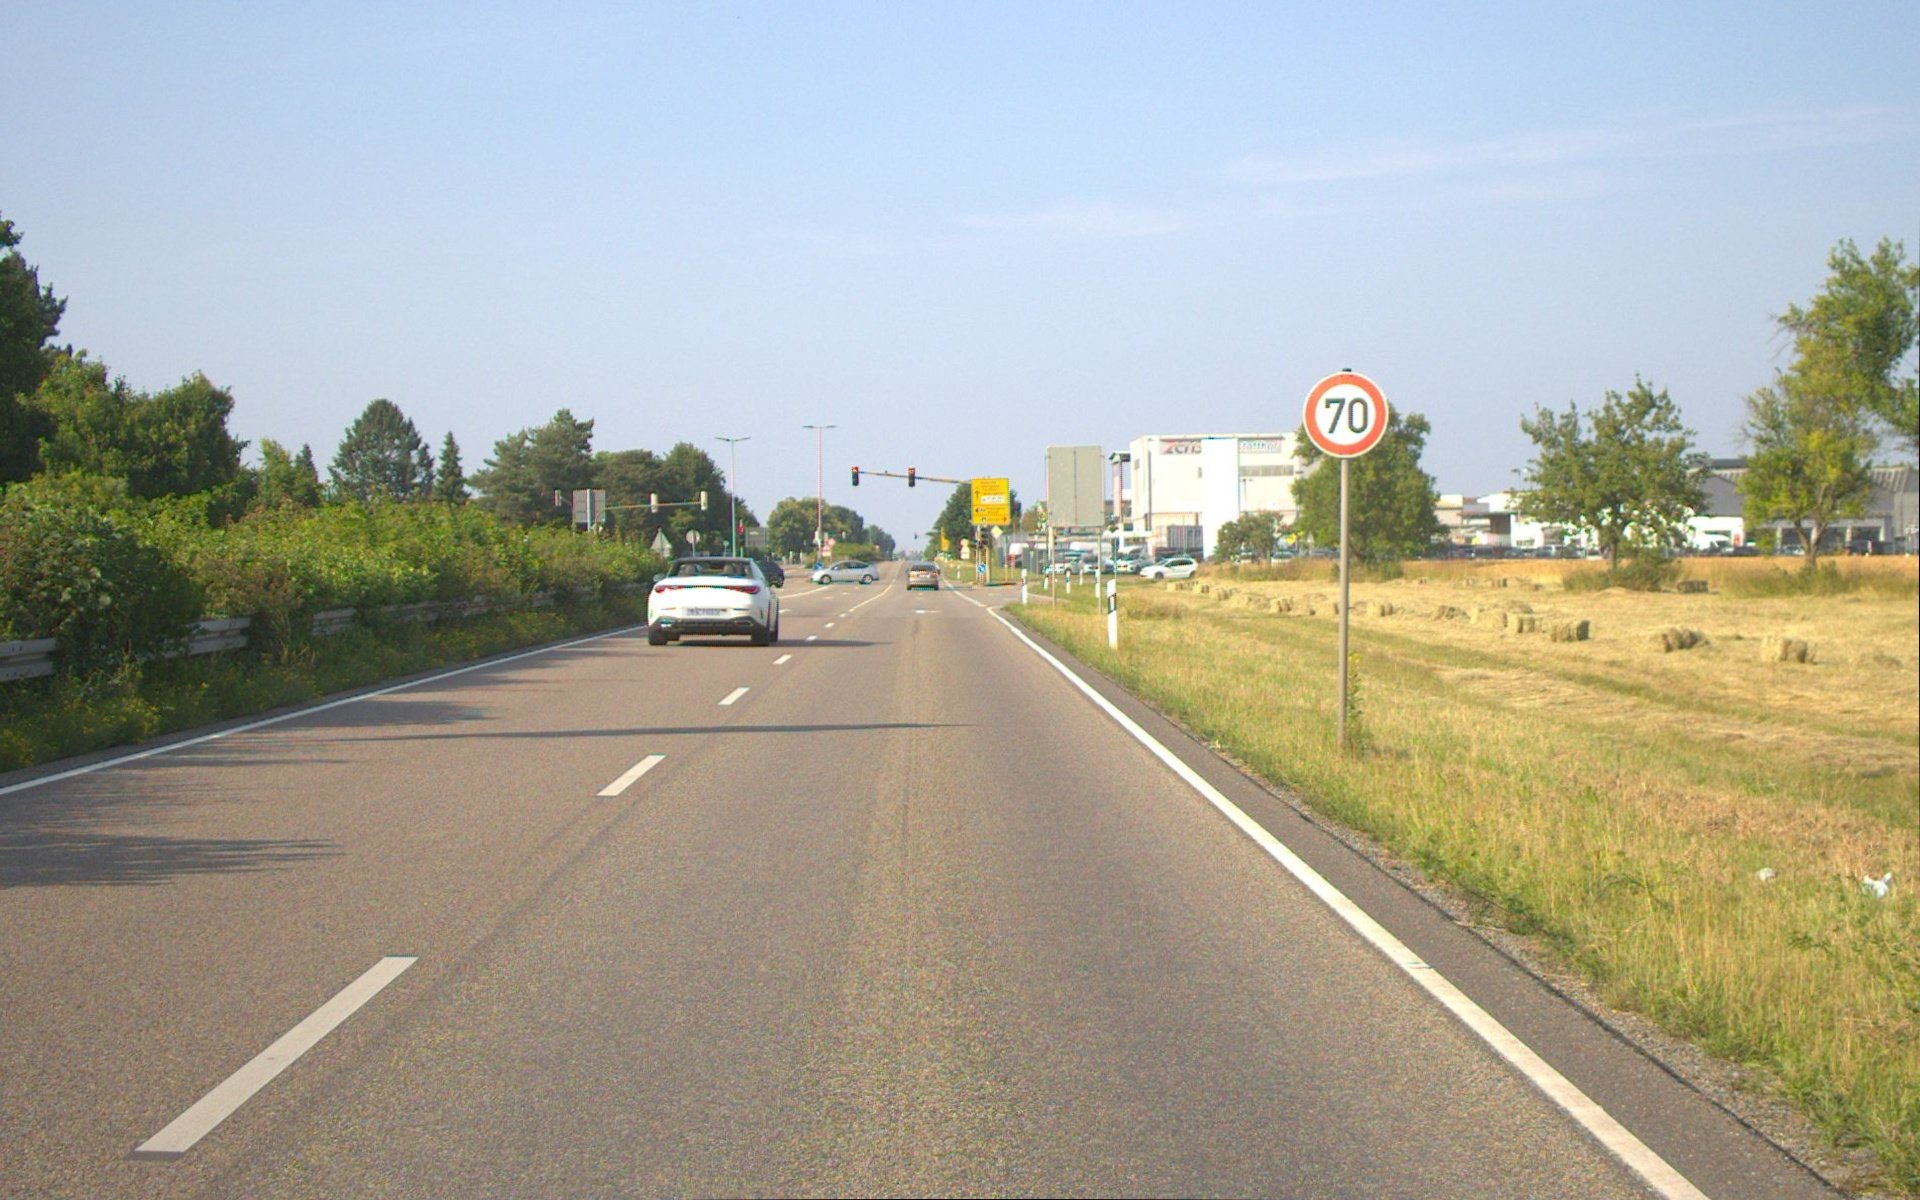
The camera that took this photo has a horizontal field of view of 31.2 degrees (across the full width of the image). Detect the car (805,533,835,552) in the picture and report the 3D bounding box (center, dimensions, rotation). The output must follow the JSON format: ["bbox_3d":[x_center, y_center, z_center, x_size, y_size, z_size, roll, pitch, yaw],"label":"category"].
[{"bbox_3d":[-10.118,-4.174,248.977,1.947,1.403,4.000,1,1,0],"label":"car"}]

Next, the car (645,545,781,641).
[{"bbox_3d":[-3.804,-0.142,53.591,1.909,1.417,4.000,0,1,-1],"label":"car"}]

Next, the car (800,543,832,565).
[{"bbox_3d":[-9.390,-3.021,224.295,1.947,1.403,4.000,1,1,0],"label":"car"}]

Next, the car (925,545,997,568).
[{"bbox_3d":[0.053,-2.694,212.806,3.986,1.403,1.955,0,1,-20],"label":"car"}]

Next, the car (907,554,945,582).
[{"bbox_3d":[-1.875,-1.727,186.055,1.993,1.481,4.000,0,1,-1],"label":"car"}]
